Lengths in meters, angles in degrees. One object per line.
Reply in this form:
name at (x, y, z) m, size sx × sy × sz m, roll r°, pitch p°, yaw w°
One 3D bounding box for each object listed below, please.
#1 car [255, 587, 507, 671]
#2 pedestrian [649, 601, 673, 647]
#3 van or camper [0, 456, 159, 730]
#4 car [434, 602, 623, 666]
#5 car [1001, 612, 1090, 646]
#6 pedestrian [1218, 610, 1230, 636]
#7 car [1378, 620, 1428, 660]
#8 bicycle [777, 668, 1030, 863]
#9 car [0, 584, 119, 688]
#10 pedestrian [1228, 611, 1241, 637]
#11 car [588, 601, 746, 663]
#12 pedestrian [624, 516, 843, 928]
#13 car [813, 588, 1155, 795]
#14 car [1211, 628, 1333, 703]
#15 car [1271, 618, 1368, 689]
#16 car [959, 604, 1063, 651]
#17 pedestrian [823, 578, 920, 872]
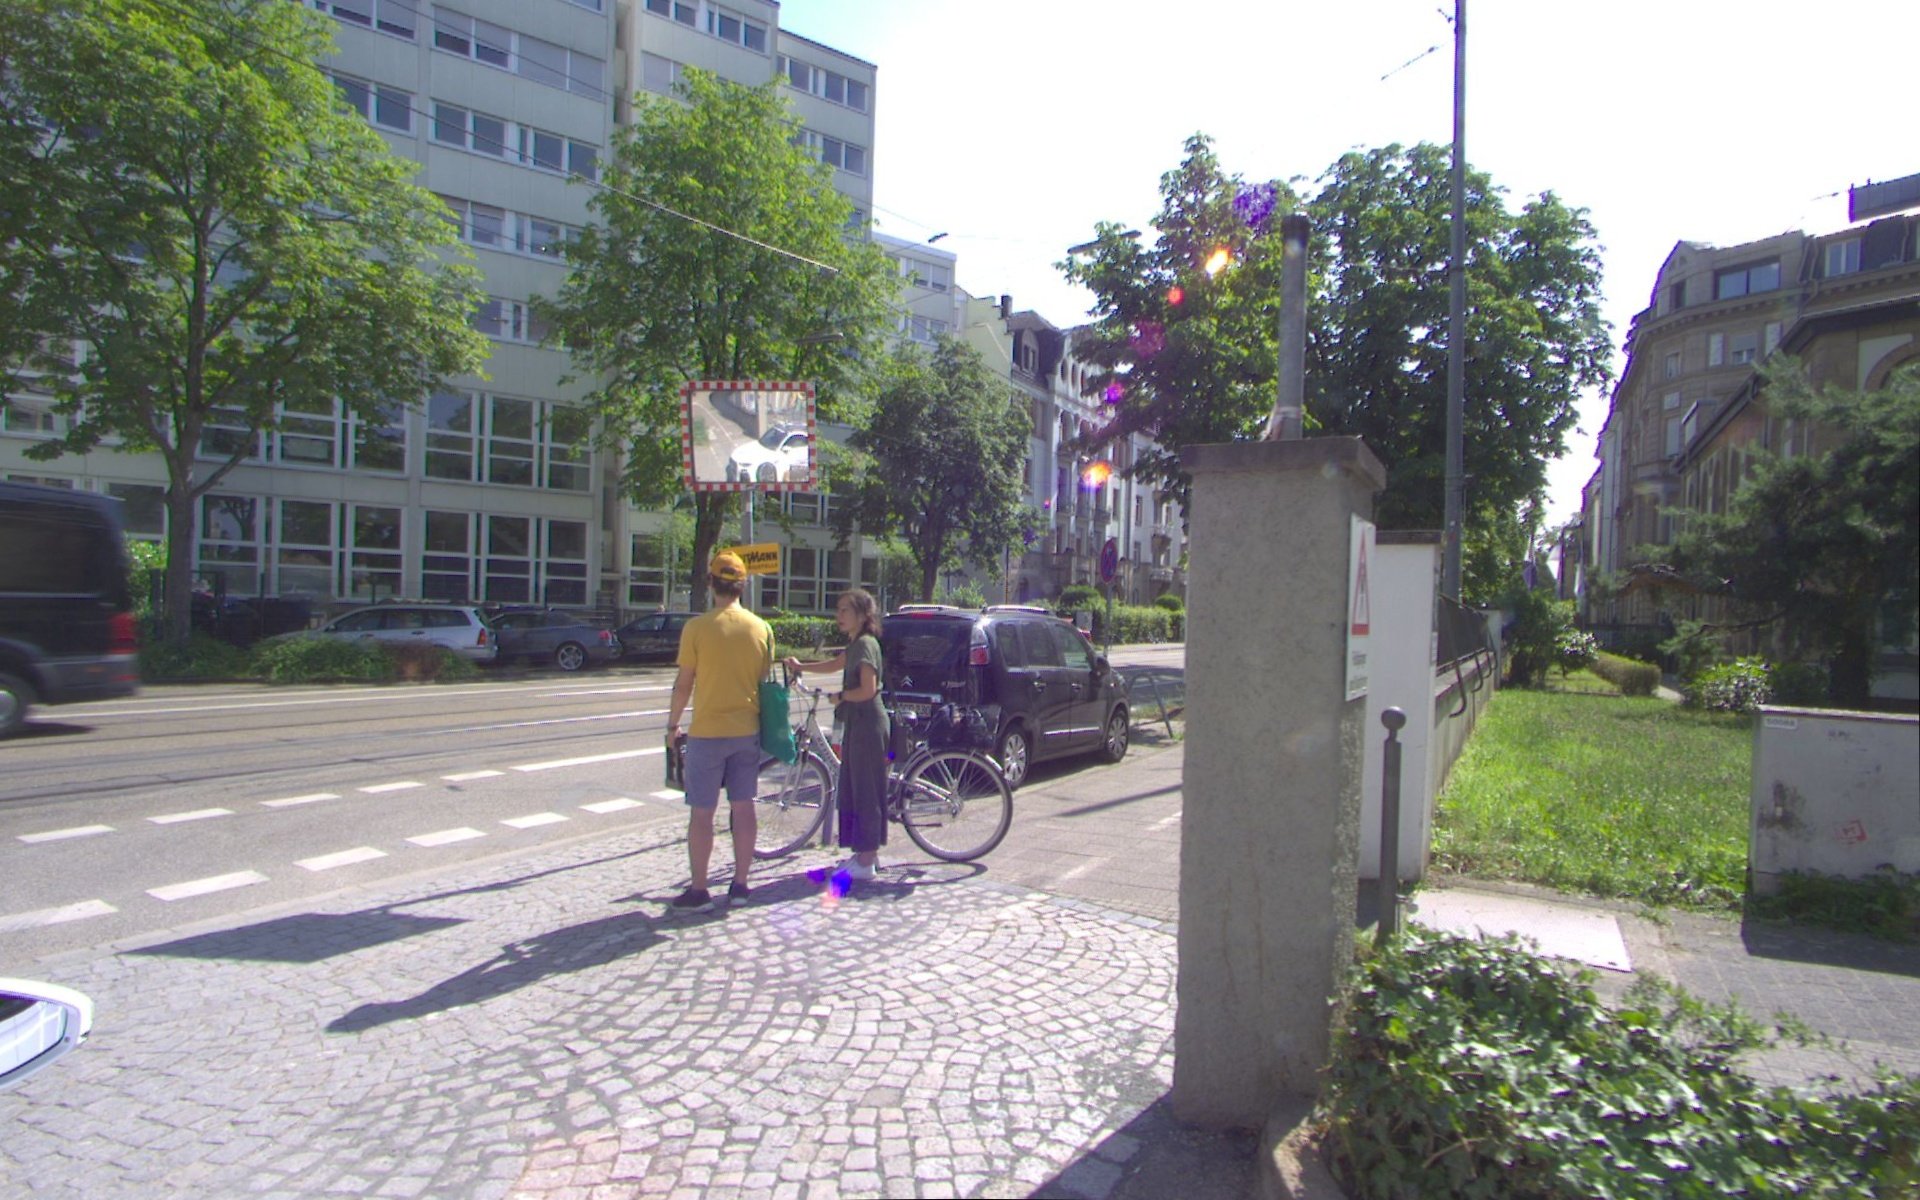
car at (-11.888, 0.620, 20.855) m, size 4.269 × 1.625 × 1.555 m, roll 2°, pitch -1°, yaw -18°
pedestrian at (-9.765, 0.787, 32.719) m, size 0.417 × 1.480 × 0.620 m, roll 2°, pitch 0°, yaw 27°
van or camper at (-10.981, -0.123, 8.779) m, size 2.019 × 2.654 × 5.837 m, roll 2°, pitch 0°, yaw 29°
car at (-10.048, 0.796, 23.601) m, size 3.875 × 1.375 × 1.556 m, roll 2°, pitch 0°, yaw -16°
car at (4.189, 1.429, 49.304) m, size 3.929 × 1.528 × 1.997 m, roll 2°, pitch 0°, yaw -16°
pedestrian at (19.967, 1.737, 75.670) m, size 0.680 × 1.959 × 0.785 m, roll 2°, pitch 0°, yaw 28°
car at (20.705, 1.828, 46.718) m, size 1.828 × 1.702 × 3.984 m, roll 1°, pitch -1°, yaw 28°
bicycle at (-0.346, 0.982, 6.137) m, size 1.484 × 1.055 × 0.363 m, roll 1°, pitch 0°, yaw 12°
car at (-15.315, 0.503, 14.964) m, size 3.874 × 1.506 × 1.610 m, roll 1°, pitch 0°, yaw -15°
pedestrian at (20.649, 1.825, 75.337) m, size 0.680 × 1.959 × 0.785 m, roll 2°, pitch 0°, yaw 28°
car at (-7.710, 0.847, 26.558) m, size 3.875 × 1.505 × 1.556 m, roll 2°, pitch 0°, yaw -16°
pedestrian at (-1.181, 0.570, 5.167) m, size 0.843 × 1.889 × 0.824 m, roll 1°, pitch 0°, yaw -34°
car at (0.460, 0.803, 10.515) m, size 1.829 × 1.706 × 3.981 m, roll 1°, pitch -1°, yaw 31°
car at (6.974, 1.366, 22.142) m, size 1.828 × 1.430 × 3.984 m, roll 1°, pitch -1°, yaw 28°
car at (9.621, 1.356, 26.620) m, size 1.828 × 1.702 × 3.984 m, roll 1°, pitch -1°, yaw 28°
car at (2.144, 1.165, 42.645) m, size 3.935 × 1.884 × 1.993 m, roll 2°, pitch 0°, yaw -23°
pedestrian at (-0.512, 0.708, 5.851) m, size 0.445 × 1.642 × 0.422 m, roll -1°, pitch -1°, yaw 12°
